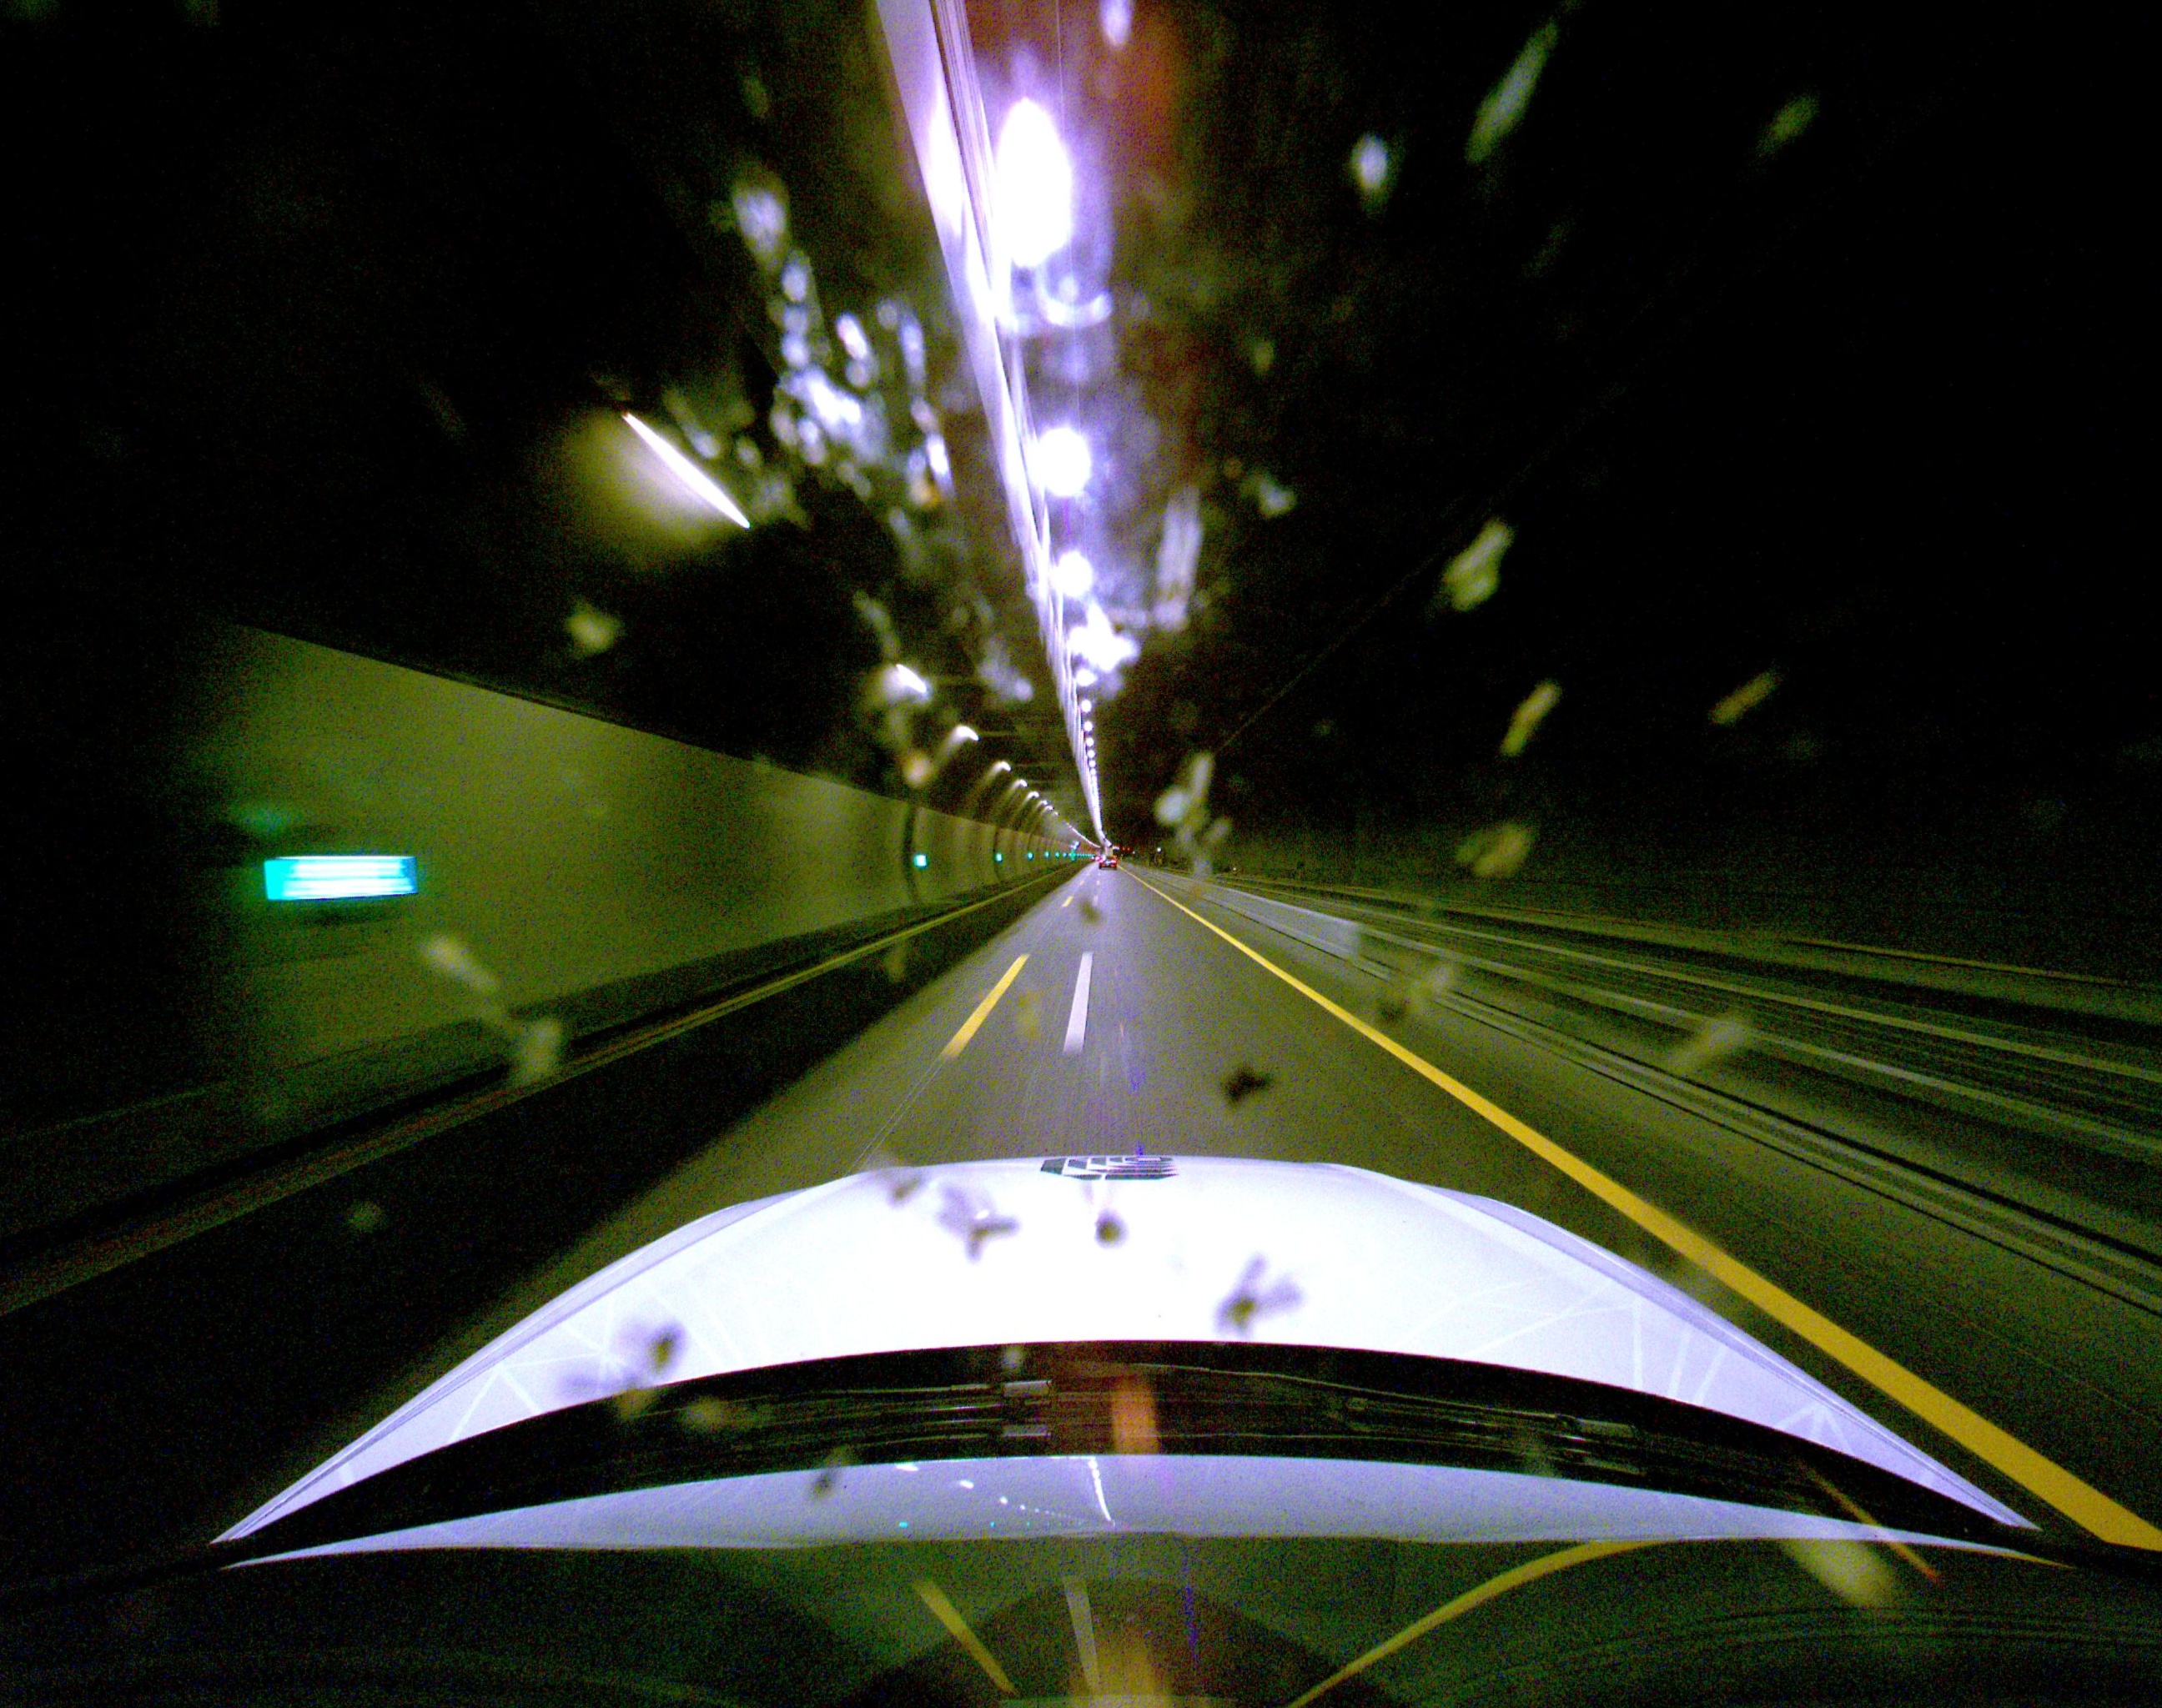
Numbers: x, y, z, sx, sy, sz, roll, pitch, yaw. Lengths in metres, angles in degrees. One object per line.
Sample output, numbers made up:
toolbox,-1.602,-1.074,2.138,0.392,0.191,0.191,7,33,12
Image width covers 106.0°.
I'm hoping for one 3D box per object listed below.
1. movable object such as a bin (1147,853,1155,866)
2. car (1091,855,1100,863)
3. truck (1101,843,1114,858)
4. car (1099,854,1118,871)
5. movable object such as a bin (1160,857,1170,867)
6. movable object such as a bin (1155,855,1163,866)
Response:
movable object such as a bin,12.039,0.999,139.905,1.230,2.141,2.217,1,0,1
car,3.471,1.210,196.438,1.923,1.687,4.002,-1,0,2
truck,8.681,-1.085,266.512,4.051,4.532,14.970,0,0,2
car,2.934,0.860,86.640,1.940,1.794,4.000,-1,0,1
movable object such as a bin,12.548,1.259,121.688,1.230,1.442,2.217,1,0,1
movable object such as a bin,12.742,1.033,133.011,1.230,1.718,2.217,1,0,1
